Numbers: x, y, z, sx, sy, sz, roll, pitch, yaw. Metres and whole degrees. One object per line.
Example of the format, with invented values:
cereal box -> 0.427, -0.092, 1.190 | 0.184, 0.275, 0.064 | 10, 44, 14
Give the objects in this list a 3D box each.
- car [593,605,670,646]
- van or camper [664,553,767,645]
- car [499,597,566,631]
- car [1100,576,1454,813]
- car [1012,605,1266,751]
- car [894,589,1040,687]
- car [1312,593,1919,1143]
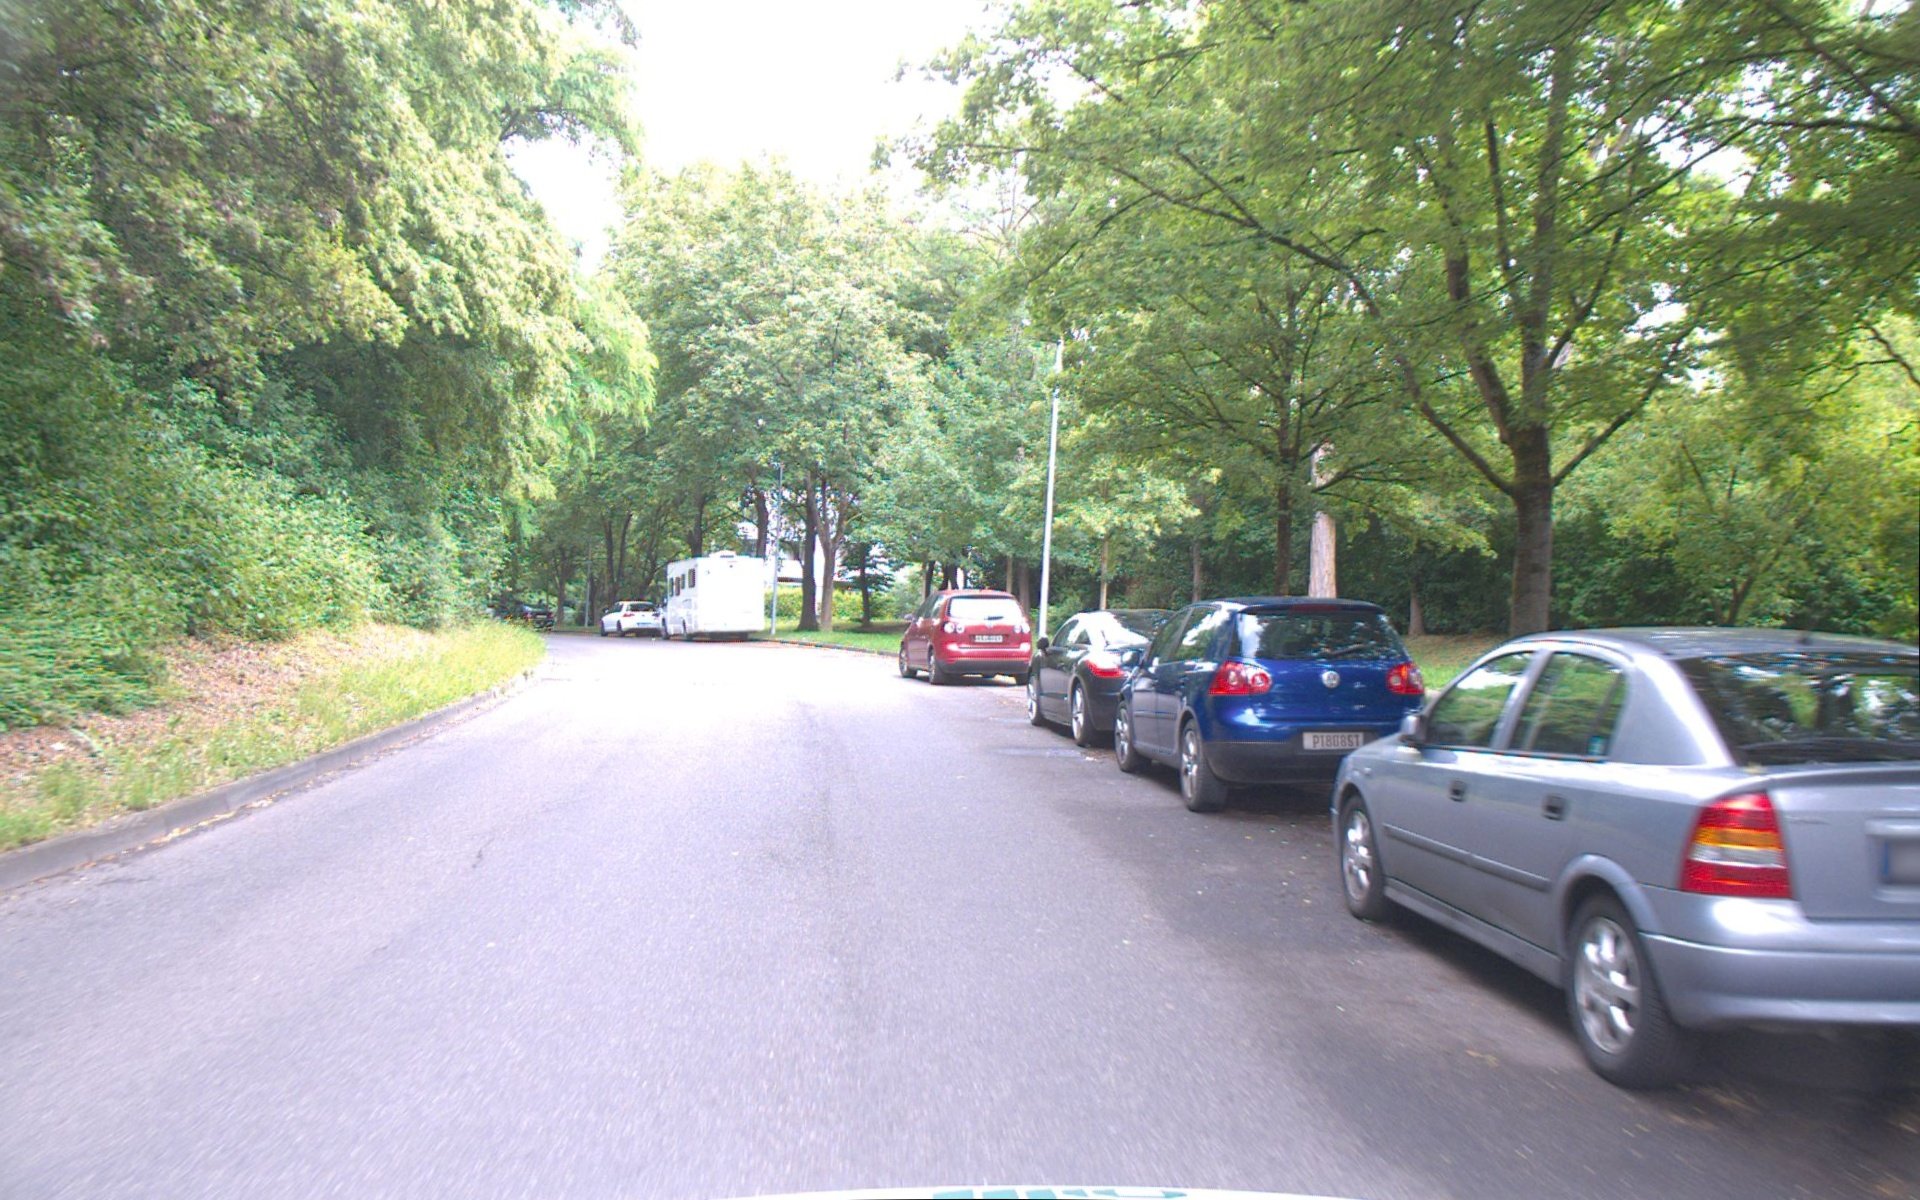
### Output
car -> -13.845, 1.062, 69.630 | 1.972, 1.498, 3.960 | 3, -1, -30
van or camper -> -8.580, -0.055, 57.567 | 2.395, 3.060, 5.173 | 0, 0, -22
car -> -21.738, 0.680, 83.969 | 1.977, 1.527, 3.951 | 3, -1, -35
car -> 2.343, 0.660, 13.328 | 1.681, 1.536, 4.176 | 3, -1, -5
car -> 1.797, 0.761, 18.062 | 1.717, 1.360, 4.407 | 1, 0, -8
car -> 0.047, 0.636, 28.842 | 1.708, 1.590, 3.987 | 1, -1, -12
car -> 2.778, 0.731, 6.563 | 1.683, 1.456, 3.946 | 0, 1, -4
